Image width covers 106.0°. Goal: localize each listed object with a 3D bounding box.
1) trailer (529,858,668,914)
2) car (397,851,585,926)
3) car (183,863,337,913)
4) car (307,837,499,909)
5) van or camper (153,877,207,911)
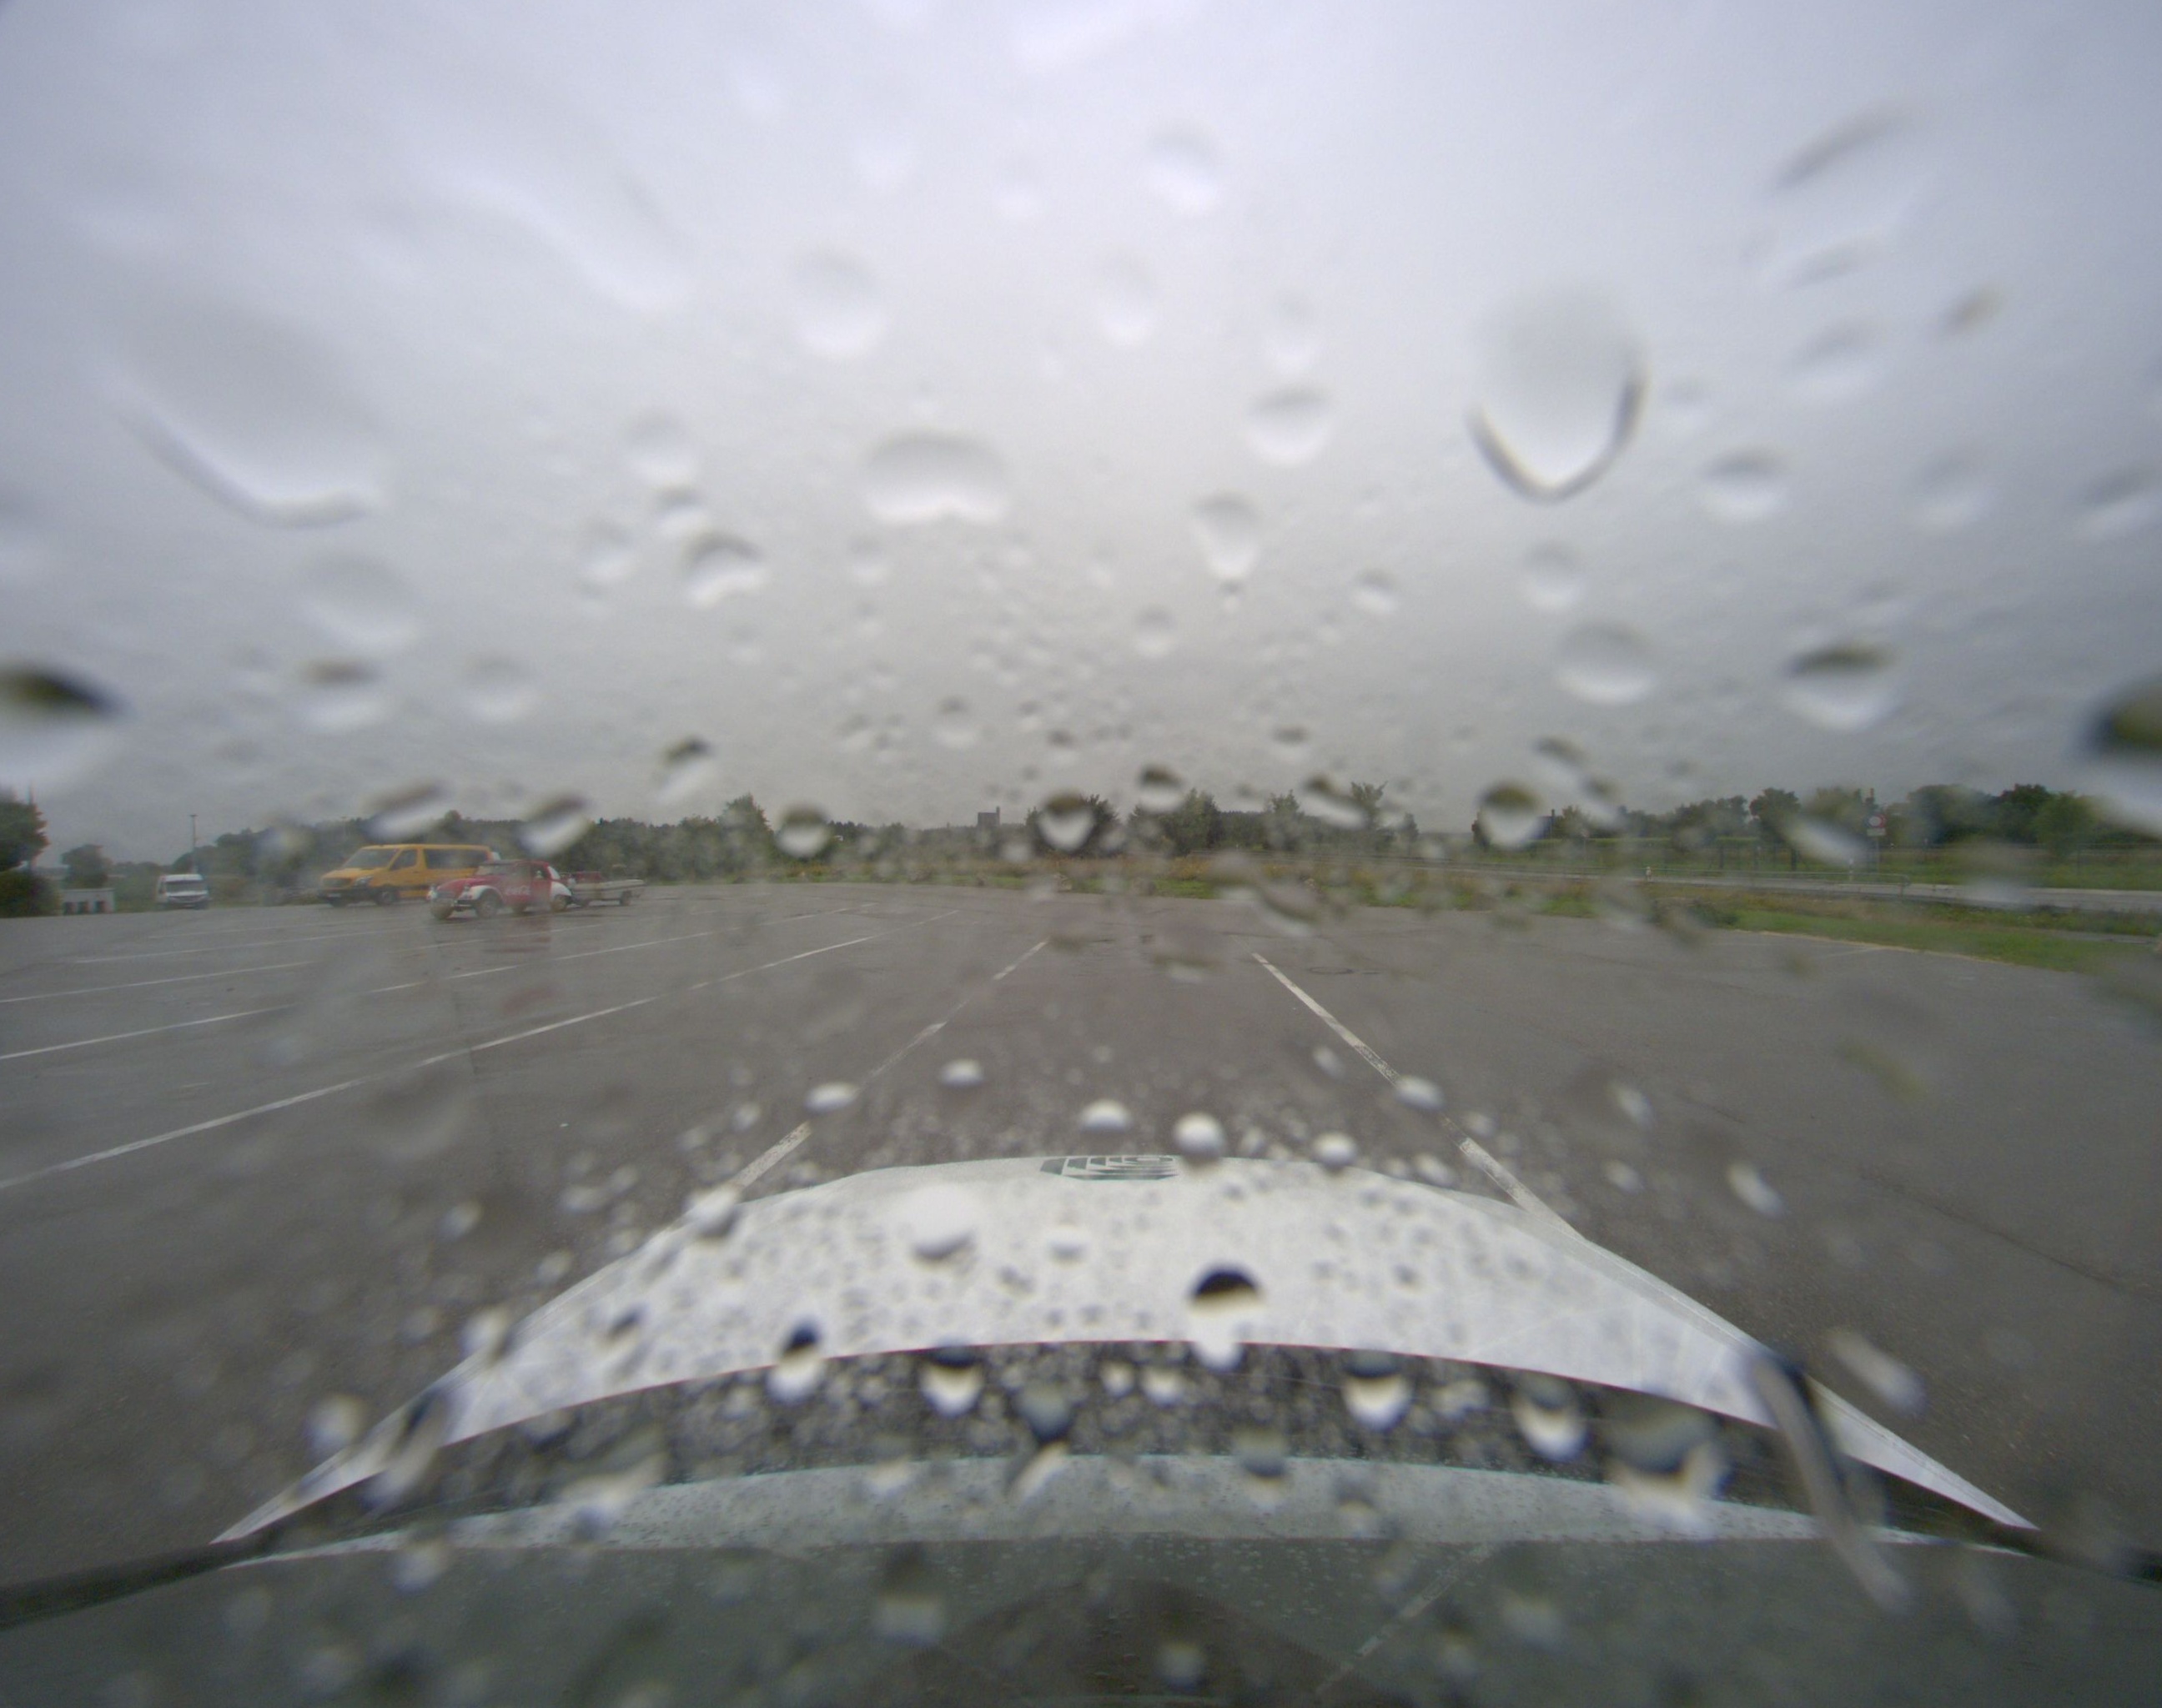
[{"bbox_3d":[-15.272,0.959,26.037,1.686,1.532,4.008,-2,0,7],"label":"trailer"},{"bbox_3d":[-15.761,0.860,22.058,1.812,1.777,4.008,-2,0,7],"label":"car"},{"bbox_3d":[-39.221,1.553,39.095,1.977,2.201,4.797,0,0,20],"label":"car"},{"bbox_3d":[-25.702,0.698,31.303,1.985,2.380,6.031,-3,-1,3],"label":"car"},{"bbox_3d":[-60.837,2.671,54.955,3.948,2.166,2.013,-2,-1,36],"label":"van or camper"}]
